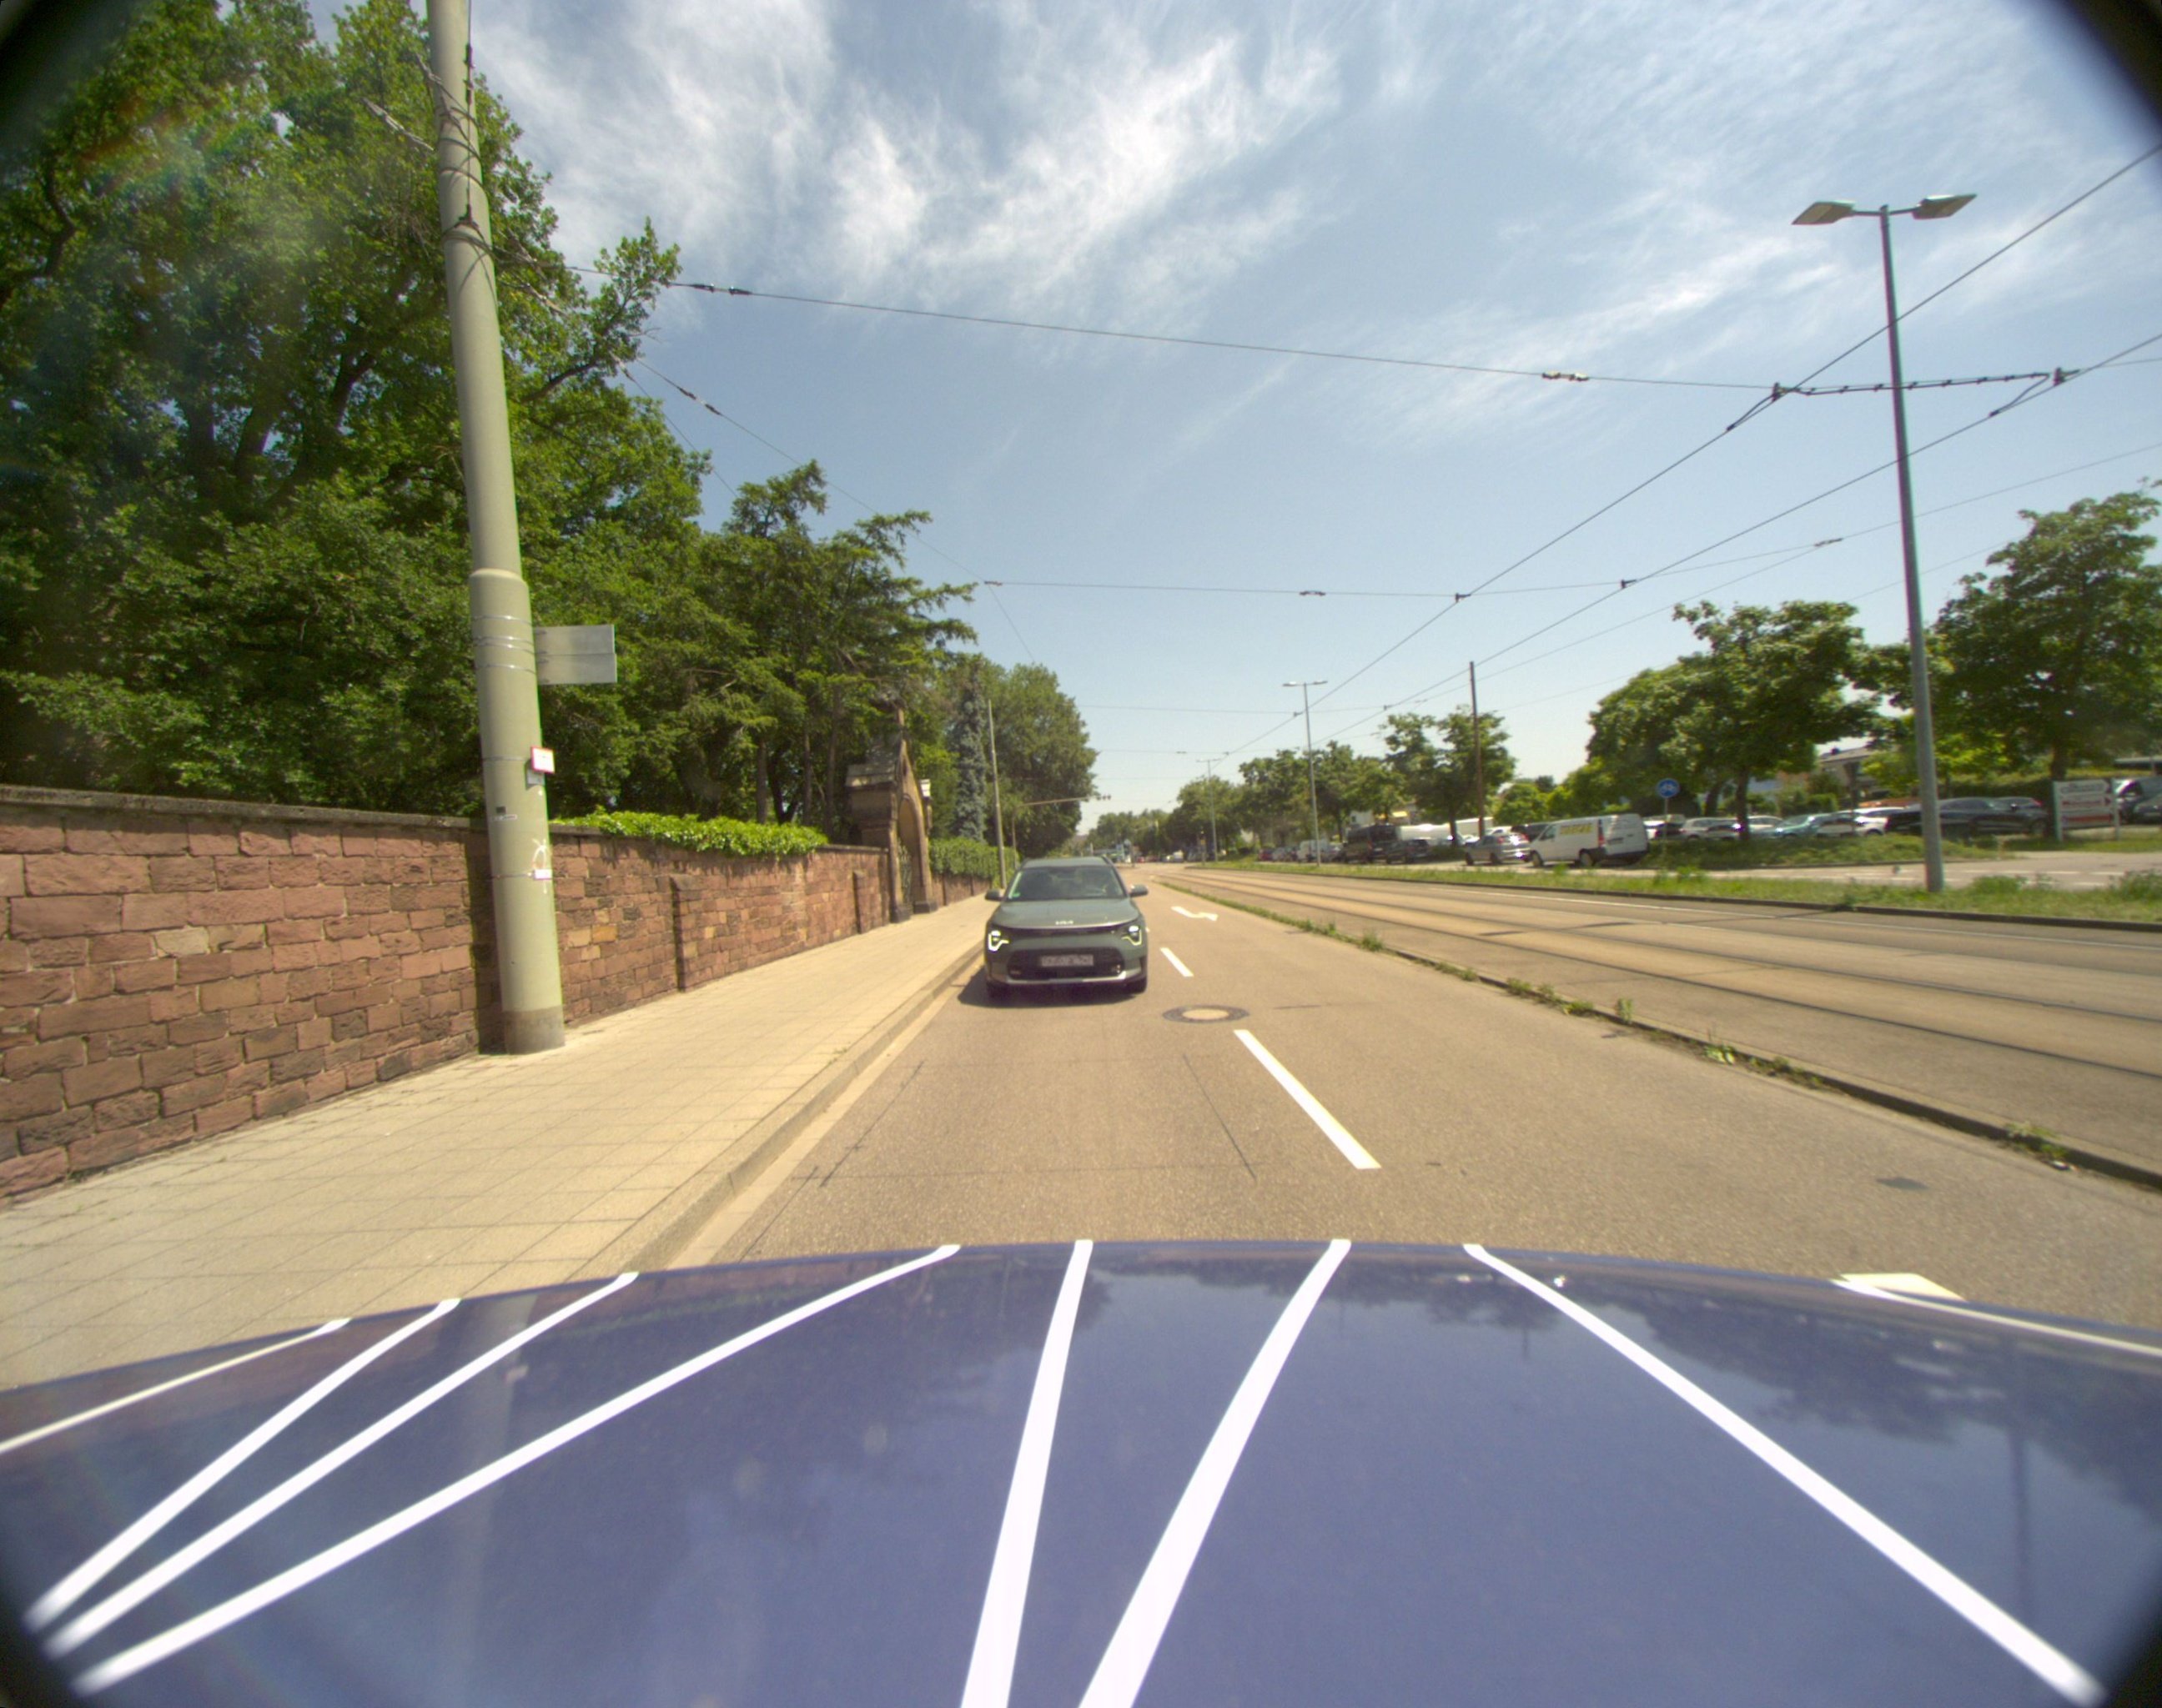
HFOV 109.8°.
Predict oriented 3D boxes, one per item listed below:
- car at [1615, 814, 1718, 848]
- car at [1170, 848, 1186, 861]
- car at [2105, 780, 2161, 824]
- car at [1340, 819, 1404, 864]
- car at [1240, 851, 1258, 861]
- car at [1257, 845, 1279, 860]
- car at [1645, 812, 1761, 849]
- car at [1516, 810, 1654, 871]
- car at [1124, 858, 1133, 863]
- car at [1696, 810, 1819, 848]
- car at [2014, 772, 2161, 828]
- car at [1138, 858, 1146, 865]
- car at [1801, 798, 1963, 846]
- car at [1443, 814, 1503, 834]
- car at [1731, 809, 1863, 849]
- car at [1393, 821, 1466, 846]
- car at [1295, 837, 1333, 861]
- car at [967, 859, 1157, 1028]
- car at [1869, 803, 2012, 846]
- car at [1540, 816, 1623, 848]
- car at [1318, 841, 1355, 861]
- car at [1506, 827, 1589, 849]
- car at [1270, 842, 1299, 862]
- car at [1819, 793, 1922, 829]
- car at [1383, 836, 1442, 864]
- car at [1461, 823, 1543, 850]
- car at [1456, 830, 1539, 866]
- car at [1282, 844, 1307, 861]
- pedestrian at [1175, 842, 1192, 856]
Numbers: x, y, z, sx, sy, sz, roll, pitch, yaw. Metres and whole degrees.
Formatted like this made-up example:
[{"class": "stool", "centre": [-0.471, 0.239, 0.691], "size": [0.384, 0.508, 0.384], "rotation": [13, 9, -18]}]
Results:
[{"class": "car", "centre": [30.656, -1.185, 39.826], "size": [4.075, 1.481, 1.831], "rotation": [-4, 0, -6]}, {"class": "car", "centre": [15.899, 0.059, 124.315], "size": [1.821, 1.979, 4.212], "rotation": [-3, 1, -3]}, {"class": "car", "centre": [43.073, -2.102, 29.501], "size": [3.996, 1.647, 1.804], "rotation": [-3, 1, 3]}, {"class": "car", "centre": [20.028, -0.849, 52.635], "size": [2.244, 2.821, 5.667], "rotation": [-3, 1, 1]}, {"class": "car", "centre": [21.080, 0.189, 95.370], "size": [1.582, 1.152, 3.423], "rotation": [-3, 1, 2]}, {"class": "car", "centre": [20.498, -0.192, 83.315], "size": [1.582, 1.471, 3.423], "rotation": [-3, 1, 2]}, {"class": "car", "centre": [30.226, -1.142, 36.995], "size": [4.163, 1.481, 2.023], "rotation": [-4, 0, -6]}, {"class": "car", "centre": [19.854, -0.506, 30.300], "size": [1.880, 1.999, 5.344], "rotation": [-7, 0, 1]}, {"class": "car", "centre": [13.382, 1.902, 213.762], "size": [1.781, 1.310, 3.753], "rotation": [-3, 1, -4]}, {"class": "car", "centre": [30.736, -1.127, 34.583], "size": [4.146, 1.481, 1.859], "rotation": [-3, 1, -6]}, {"class": "car", "centre": [43.159, -2.256, 31.923], "size": [5.120, 2.058, 2.226], "rotation": [-3, 1, 1]}, {"class": "car", "centre": [15.398, 1.869, 190.691], "size": [1.820, 1.471, 3.423], "rotation": [-3, 1, 2]}, {"class": "car", "centre": [30.938, -1.206, 29.442], "size": [4.172, 1.481, 1.984], "rotation": [-4, 0, -1]}, {"class": "car", "centre": [44.859, -3.428, 87.002], "size": [5.744, 2.051, 2.147], "rotation": [-3, 1, -2]}, {"class": "car", "centre": [30.215, -1.048, 32.126], "size": [4.040, 1.481, 1.912], "rotation": [-3, 1, -6]}, {"class": "car", "centre": [30.579, -1.766, 66.780], "size": [5.434, 1.944, 2.029], "rotation": [-3, 1, 2]}, {"class": "car", "centre": [20.351, -0.462, 66.542], "size": [1.924, 1.937, 4.817], "rotation": [-3, 1, 2]}, {"class": "car", "centre": [-0.201, 0.914, 9.808], "size": [1.824, 1.577, 4.287], "rotation": [-4, 0, 0]}, {"class": "car", "centre": [30.347, -1.030, 26.874], "size": [3.423, 1.225, 1.643], "rotation": [-4, 0, -6]}, {"class": "car", "centre": [31.404, -1.384, 47.737], "size": [3.998, 1.707, 1.797], "rotation": [-4, 0, -3]}, {"class": "car", "centre": [20.374, -0.241, 60.692], "size": [1.767, 1.456, 3.608], "rotation": [-3, 1, 2]}, {"class": "car", "centre": [30.784, -1.056, 50.246], "size": [4.261, 1.137, 2.032], "rotation": [-4, 0, -3]}, {"class": "car", "centre": [20.622, -0.214, 77.081], "size": [1.635, 1.882, 4.496], "rotation": [-3, 1, 0]}, {"class": "car", "centre": [43.518, -2.360, 41.940], "size": [4.129, 1.643, 1.692], "rotation": [-3, 0, -5]}, {"class": "car", "centre": [20.117, -0.244, 46.276], "size": [1.976, 1.568, 3.752], "rotation": [-3, 1, 1]}, {"class": "car", "centre": [31.006, -1.276, 56.017], "size": [4.926, 1.567, 2.000], "rotation": [-4, 0, -2]}, {"class": "car", "centre": [19.967, -0.283, 36.614], "size": [1.654, 1.494, 4.126], "rotation": [-7, 0, 1]}, {"class": "car", "centre": [20.227, -0.175, 71.944], "size": [1.429, 1.470, 3.262], "rotation": [-3, 1, 0]}, {"class": "pedestrian", "centre": [16.238, -0.792, 120.228], "size": [1.998, 2.002, 3.999], "rotation": [-3, 1, 0]}]
